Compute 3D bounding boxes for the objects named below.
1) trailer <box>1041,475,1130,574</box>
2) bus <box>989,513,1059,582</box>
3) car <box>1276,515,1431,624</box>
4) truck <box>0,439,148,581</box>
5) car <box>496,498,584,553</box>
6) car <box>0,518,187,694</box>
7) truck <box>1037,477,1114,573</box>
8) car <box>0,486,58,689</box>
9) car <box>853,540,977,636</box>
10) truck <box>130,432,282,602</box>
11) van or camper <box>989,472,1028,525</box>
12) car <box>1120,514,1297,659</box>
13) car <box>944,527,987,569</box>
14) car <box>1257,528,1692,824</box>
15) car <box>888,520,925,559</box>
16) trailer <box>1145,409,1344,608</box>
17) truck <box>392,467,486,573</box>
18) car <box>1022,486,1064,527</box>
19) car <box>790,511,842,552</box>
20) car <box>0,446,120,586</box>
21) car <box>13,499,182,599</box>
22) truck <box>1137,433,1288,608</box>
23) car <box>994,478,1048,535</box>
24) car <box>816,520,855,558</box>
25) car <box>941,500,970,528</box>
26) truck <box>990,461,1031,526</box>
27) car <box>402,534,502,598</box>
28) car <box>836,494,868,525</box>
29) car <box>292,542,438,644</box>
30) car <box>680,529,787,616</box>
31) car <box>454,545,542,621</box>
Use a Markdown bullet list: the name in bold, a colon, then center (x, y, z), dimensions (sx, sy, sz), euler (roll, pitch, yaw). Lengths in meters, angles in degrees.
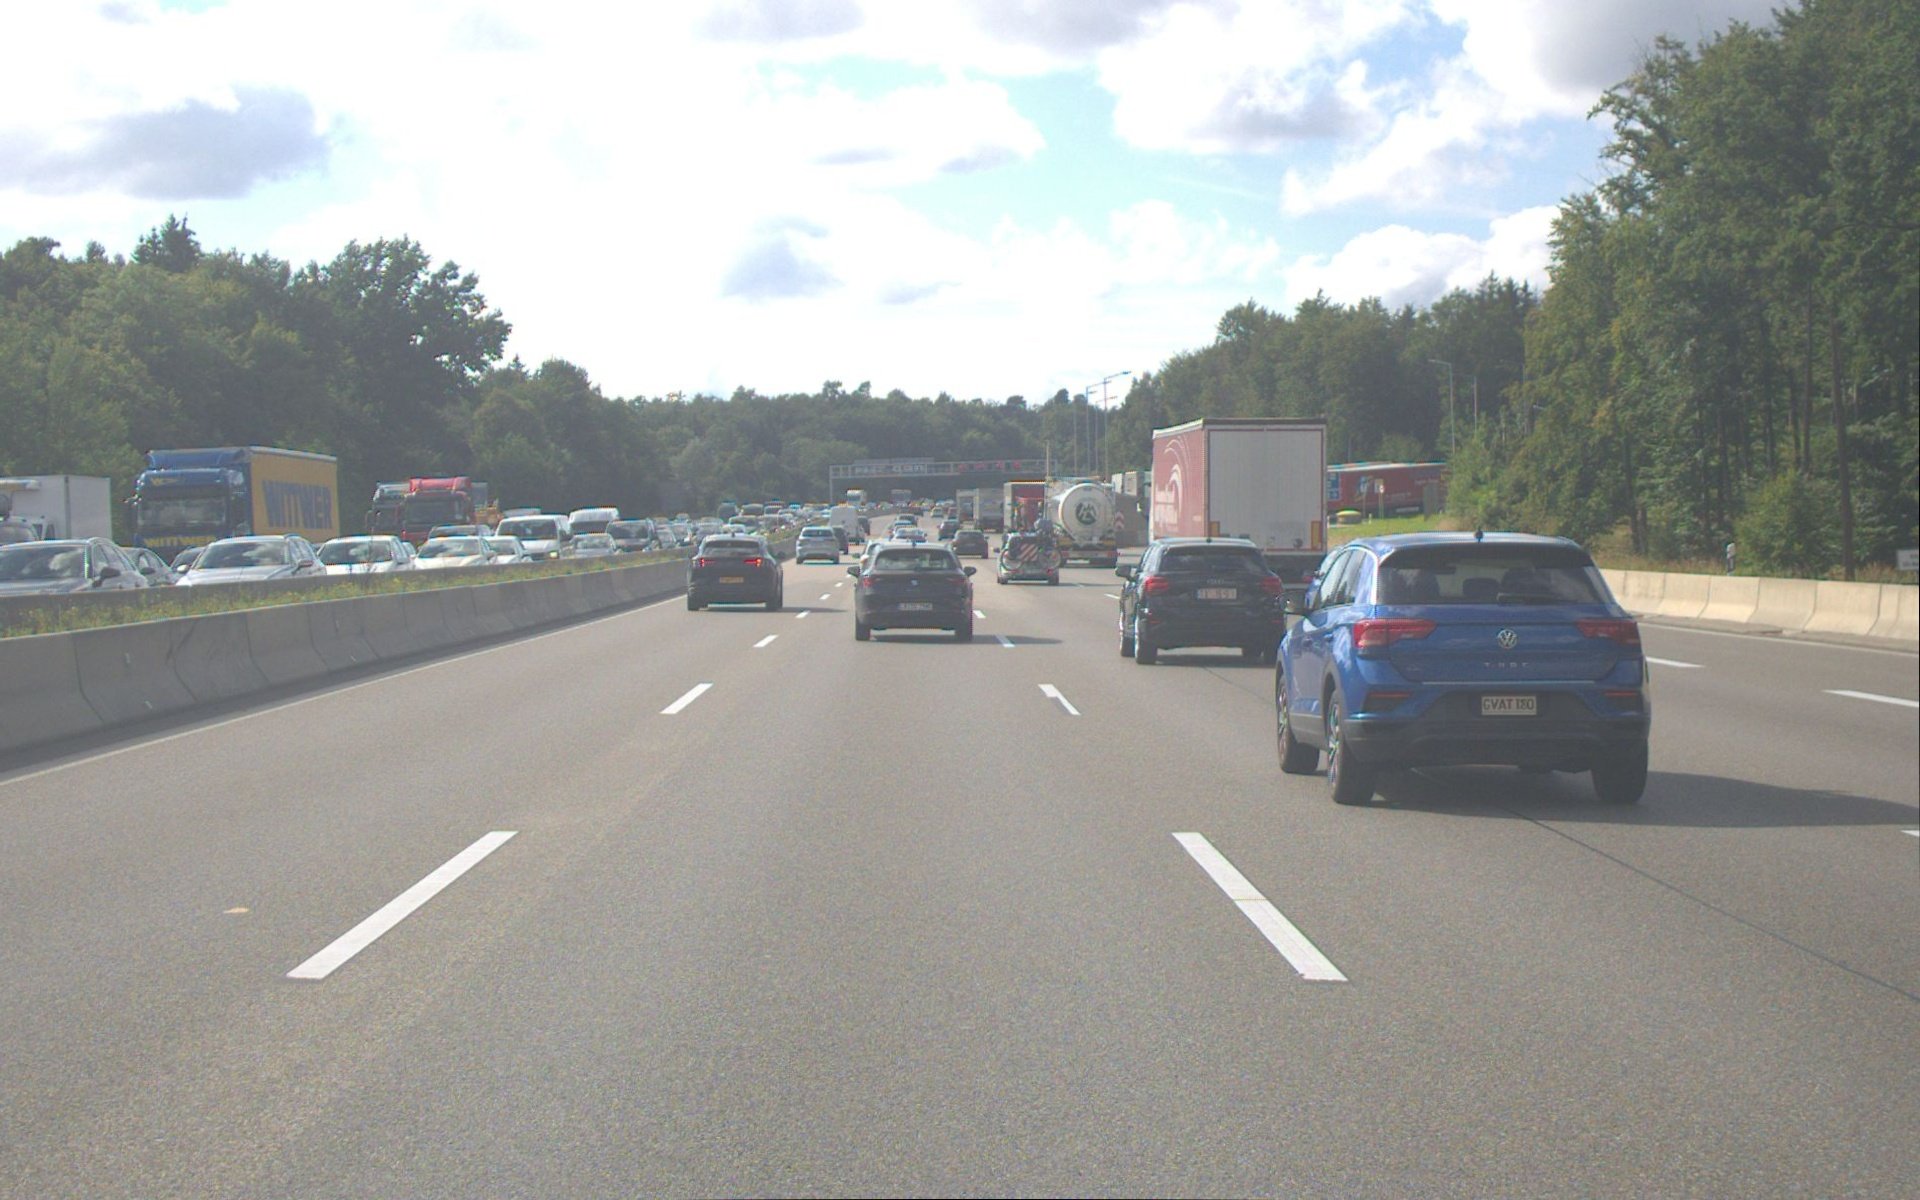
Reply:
- **trailer**: center (5.234, -3.127, 145.398), dimensions (3.036, 4.002, 12.246), euler (0, 1, -1)
- **bus**: center (1.914, -1.564, 104.174), dimensions (1.993, 2.007, 4.000), euler (1, 0, 0)
- **car**: center (5.739, -0.459, 50.611), dimensions (1.715, 1.506, 4.302), euler (-1, 1, -1)
- **truck**: center (-19.181, -1.901, 72.510), dimensions (2.328, 2.792, 7.950), euler (2, 1, -1)
- **car**: center (-11.294, -1.998, 92.786), dimensions (1.849, 1.350, 5.489), euler (1, 0, -2)
- **car**: center (-10.811, 0.074, 41.472), dimensions (1.993, 2.007, 4.409), euler (-1, 0, 0)
- **truck**: center (5.086, -3.286, 152.661), dimensions (3.045, 4.146, 7.127), euler (0, 1, -1)
- **car**: center (-14.999, -0.219, 50.734), dimensions (1.993, 2.953, 5.403), euler (2, 1, -1)
- **car**: center (-0.710, -0.203, 51.515), dimensions (1.734, 1.360, 4.000), euler (1, 1, -2)
- **truck**: center (-18.976, -2.030, 86.784), dimensions (2.735, 4.134, 5.617), euler (1, 0, -2)
- **van or camper**: center (3.029, -6.292, 213.890), dimensions (2.351, 3.133, 5.710), euler (1, 0, 0)
- **car**: center (2.959, -0.180, 41.669), dimensions (1.799, 1.639, 4.000), euler (1, 1, 0)
- **car**: center (0.261, -2.588, 171.392), dimensions (1.993, 2.007, 4.000), euler (1, 1, -1)
- **car**: center (2.981, 0.362, 20.890), dimensions (1.924, 1.536, 4.646), euler (-1, 1, 0)
- **car**: center (-2.913, -3.288, 187.194), dimensions (1.993, 2.007, 4.000), euler (-1, 0, -1)
- **trailer**: center (6.161, -1.860, 76.869), dimensions (3.038, 4.021, 13.891), euler (1, 0, -1)
- **truck**: center (-19.984, -3.088, 132.114), dimensions (2.775, 3.924, 6.854), euler (1, 1, -2)
- **car**: center (4.334, -4.886, 179.993), dimensions (1.993, 2.007, 4.000), euler (1, 0, -1)
- **car**: center (-6.439, -3.068, 154.293), dimensions (2.154, 1.770, 4.000), euler (1, 1, 0)
- **car**: center (-14.310, -1.235, 52.382), dimensions (1.993, 2.007, 4.657), euler (1, 0, -2)
- **car**: center (-15.079, -0.888, 60.307), dimensions (1.800, 1.626, 4.663), euler (2, 1, -1)
- **truck**: center (6.062, -1.863, 83.453), dimensions (3.080, 4.049, 6.070), euler (1, 0, -1)
- **car**: center (3.360, -5.140, 189.969), dimensions (2.866, 2.981, 5.149), euler (1, 0, 0)
- **car**: center (-6.768, -3.335, 187.068), dimensions (1.993, 2.007, 4.000), euler (1, 1, -1)
- **car**: center (-0.329, -6.271, 250.496), dimensions (1.993, 2.007, 4.000), euler (1, 1, -1)
- **truck**: center (3.005, -6.348, 206.871), dimensions (2.358, 3.560, 11.266), euler (1, 0, 0)
- **car**: center (-11.325, -0.779, 76.903), dimensions (1.757, 1.372, 4.000), euler (1, 1, -2)
- **car**: center (-7.047, -5.928, 225.270), dimensions (1.993, 2.007, 4.000), euler (1, 1, -1)
- **car**: center (-10.958, -0.164, 63.569), dimensions (1.993, 1.737, 4.296), euler (2, 1, -1)
- **car**: center (-4.727, -0.594, 72.256), dimensions (1.993, 1.770, 4.000), euler (1, 1, 0)
- **car**: center (-11.303, -0.408, 84.270), dimensions (1.686, 1.810, 4.296), euler (1, 0, -2)
